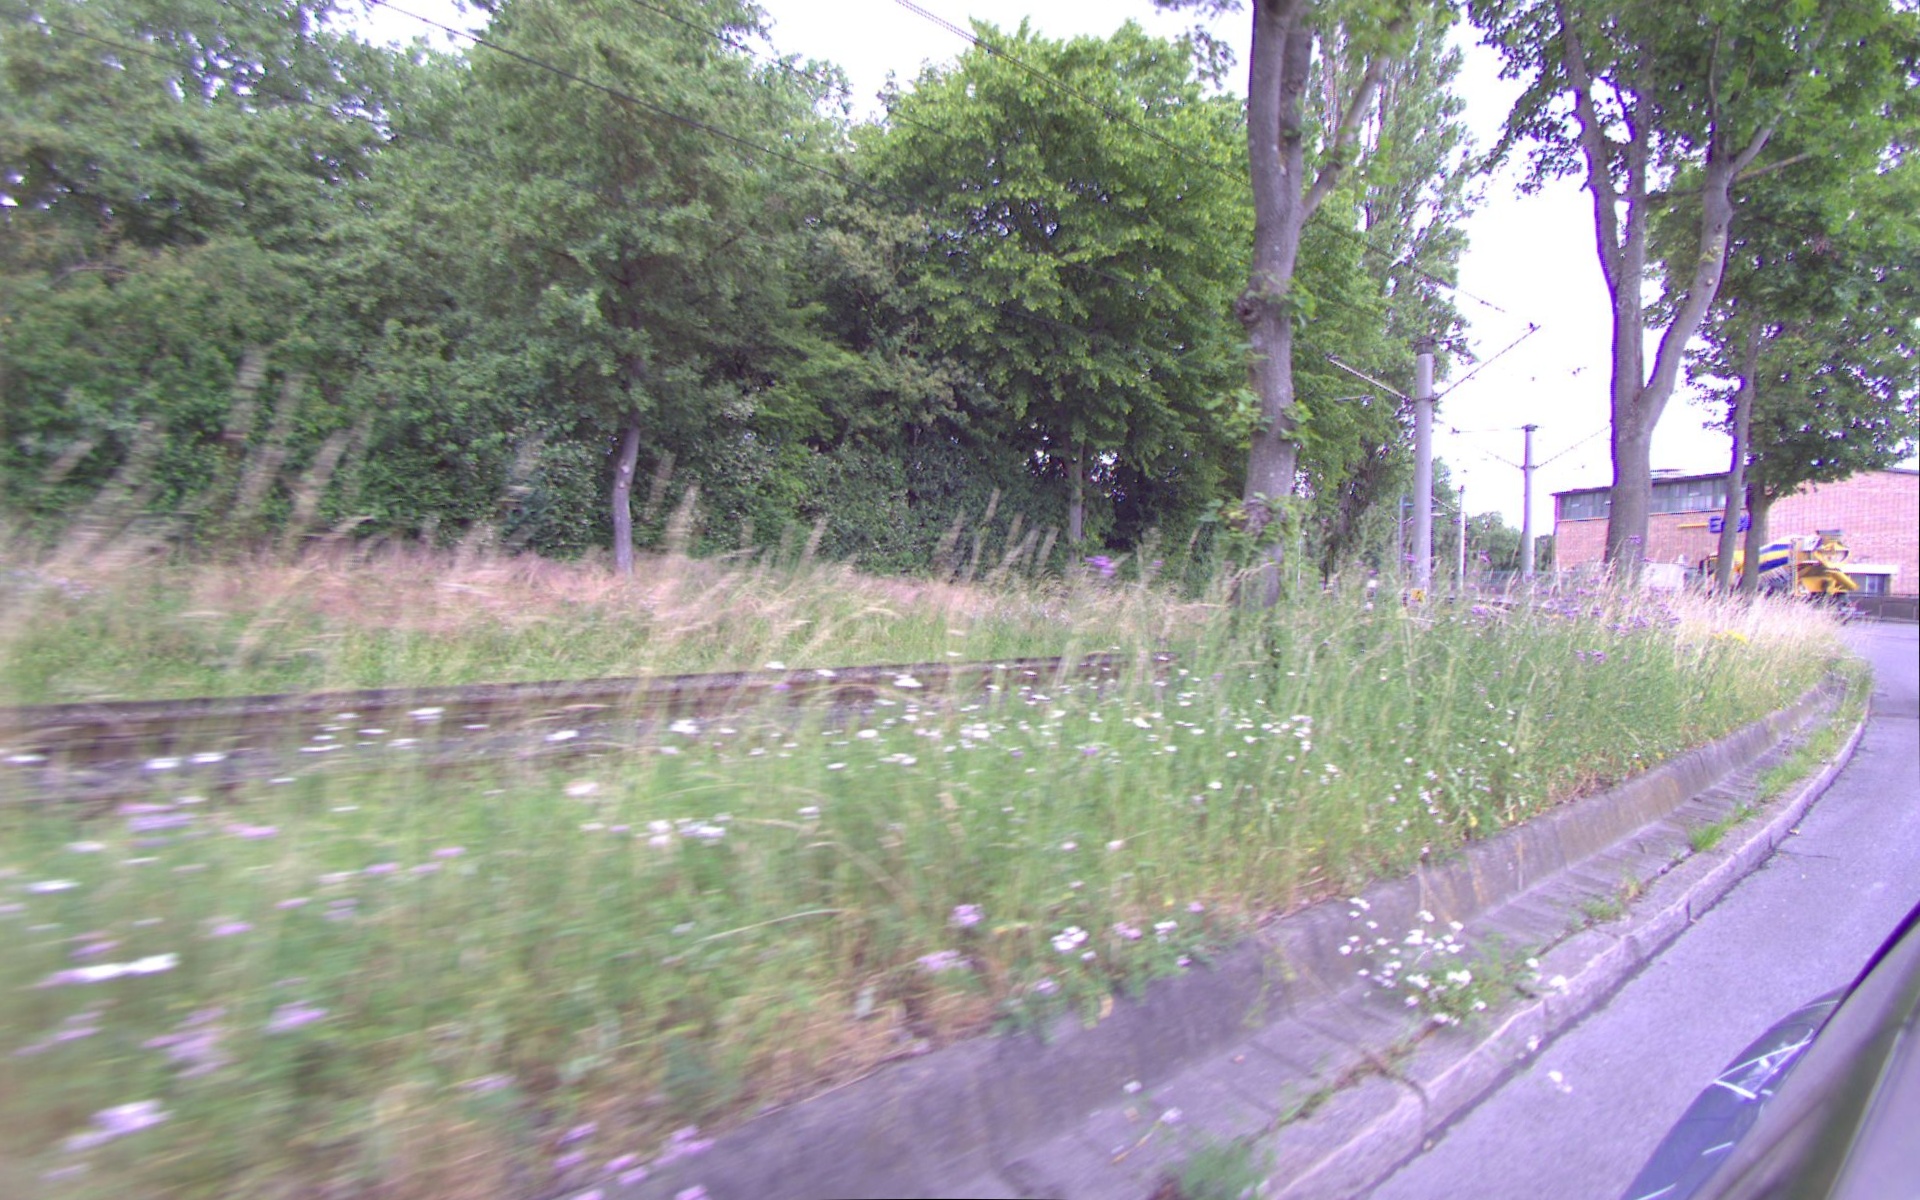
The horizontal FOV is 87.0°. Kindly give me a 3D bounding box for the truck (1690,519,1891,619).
[{"bbox_3d":[37.338,-1.318,46.132,2.636,3.988,10.101,-1,0,12],"label":"truck"}]
